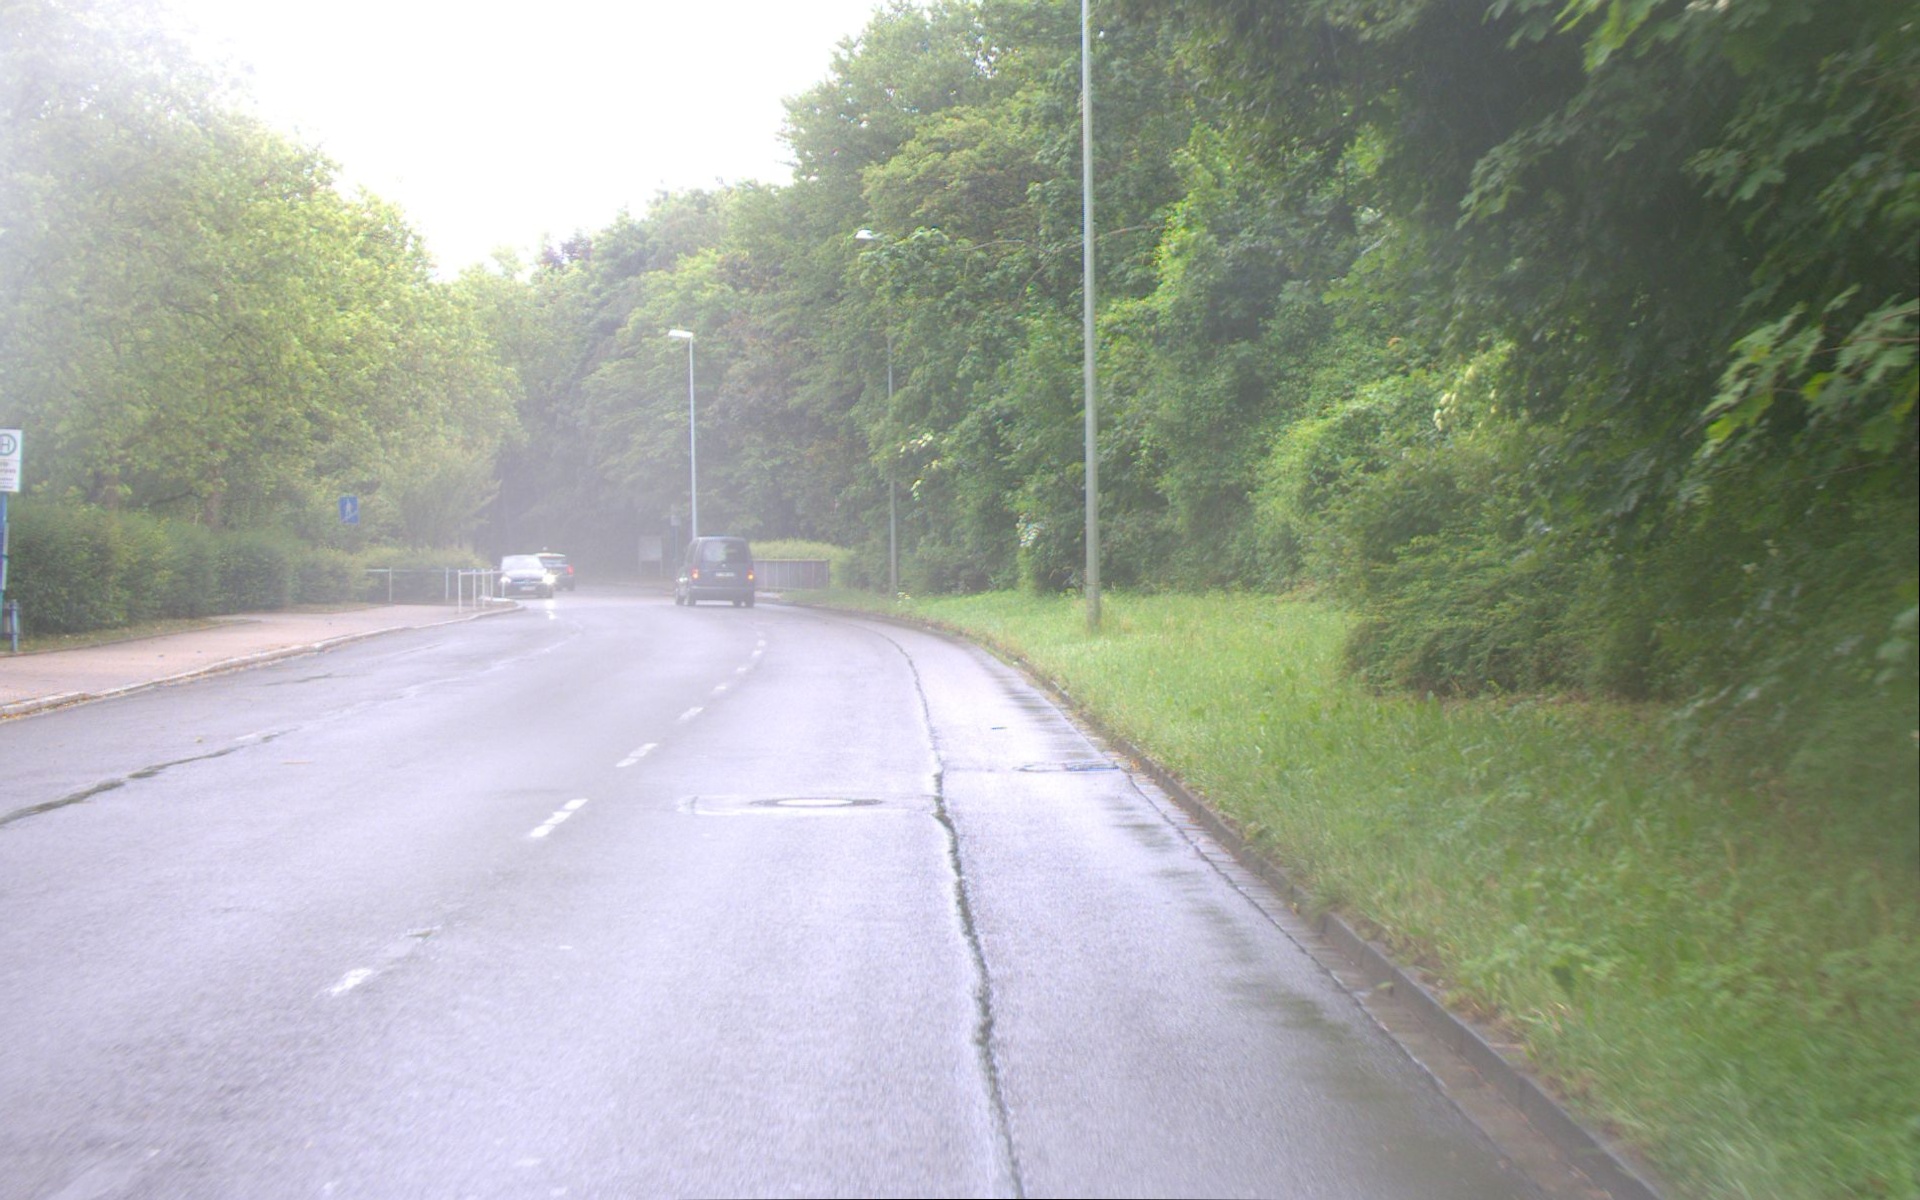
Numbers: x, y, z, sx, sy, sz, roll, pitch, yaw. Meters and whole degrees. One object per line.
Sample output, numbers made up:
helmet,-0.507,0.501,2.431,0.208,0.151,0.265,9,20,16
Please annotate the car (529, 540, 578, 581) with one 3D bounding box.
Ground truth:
car,-15.829,-1.543,133.971,1.794,1.505,4.001,-2,1,-6

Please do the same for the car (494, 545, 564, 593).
car,-14.063,-1.008,112.042,1.826,1.460,4.001,-2,1,-13

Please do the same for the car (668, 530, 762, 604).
car,-6.497,-0.896,90.941,1.985,1.919,4.001,0,1,-11
